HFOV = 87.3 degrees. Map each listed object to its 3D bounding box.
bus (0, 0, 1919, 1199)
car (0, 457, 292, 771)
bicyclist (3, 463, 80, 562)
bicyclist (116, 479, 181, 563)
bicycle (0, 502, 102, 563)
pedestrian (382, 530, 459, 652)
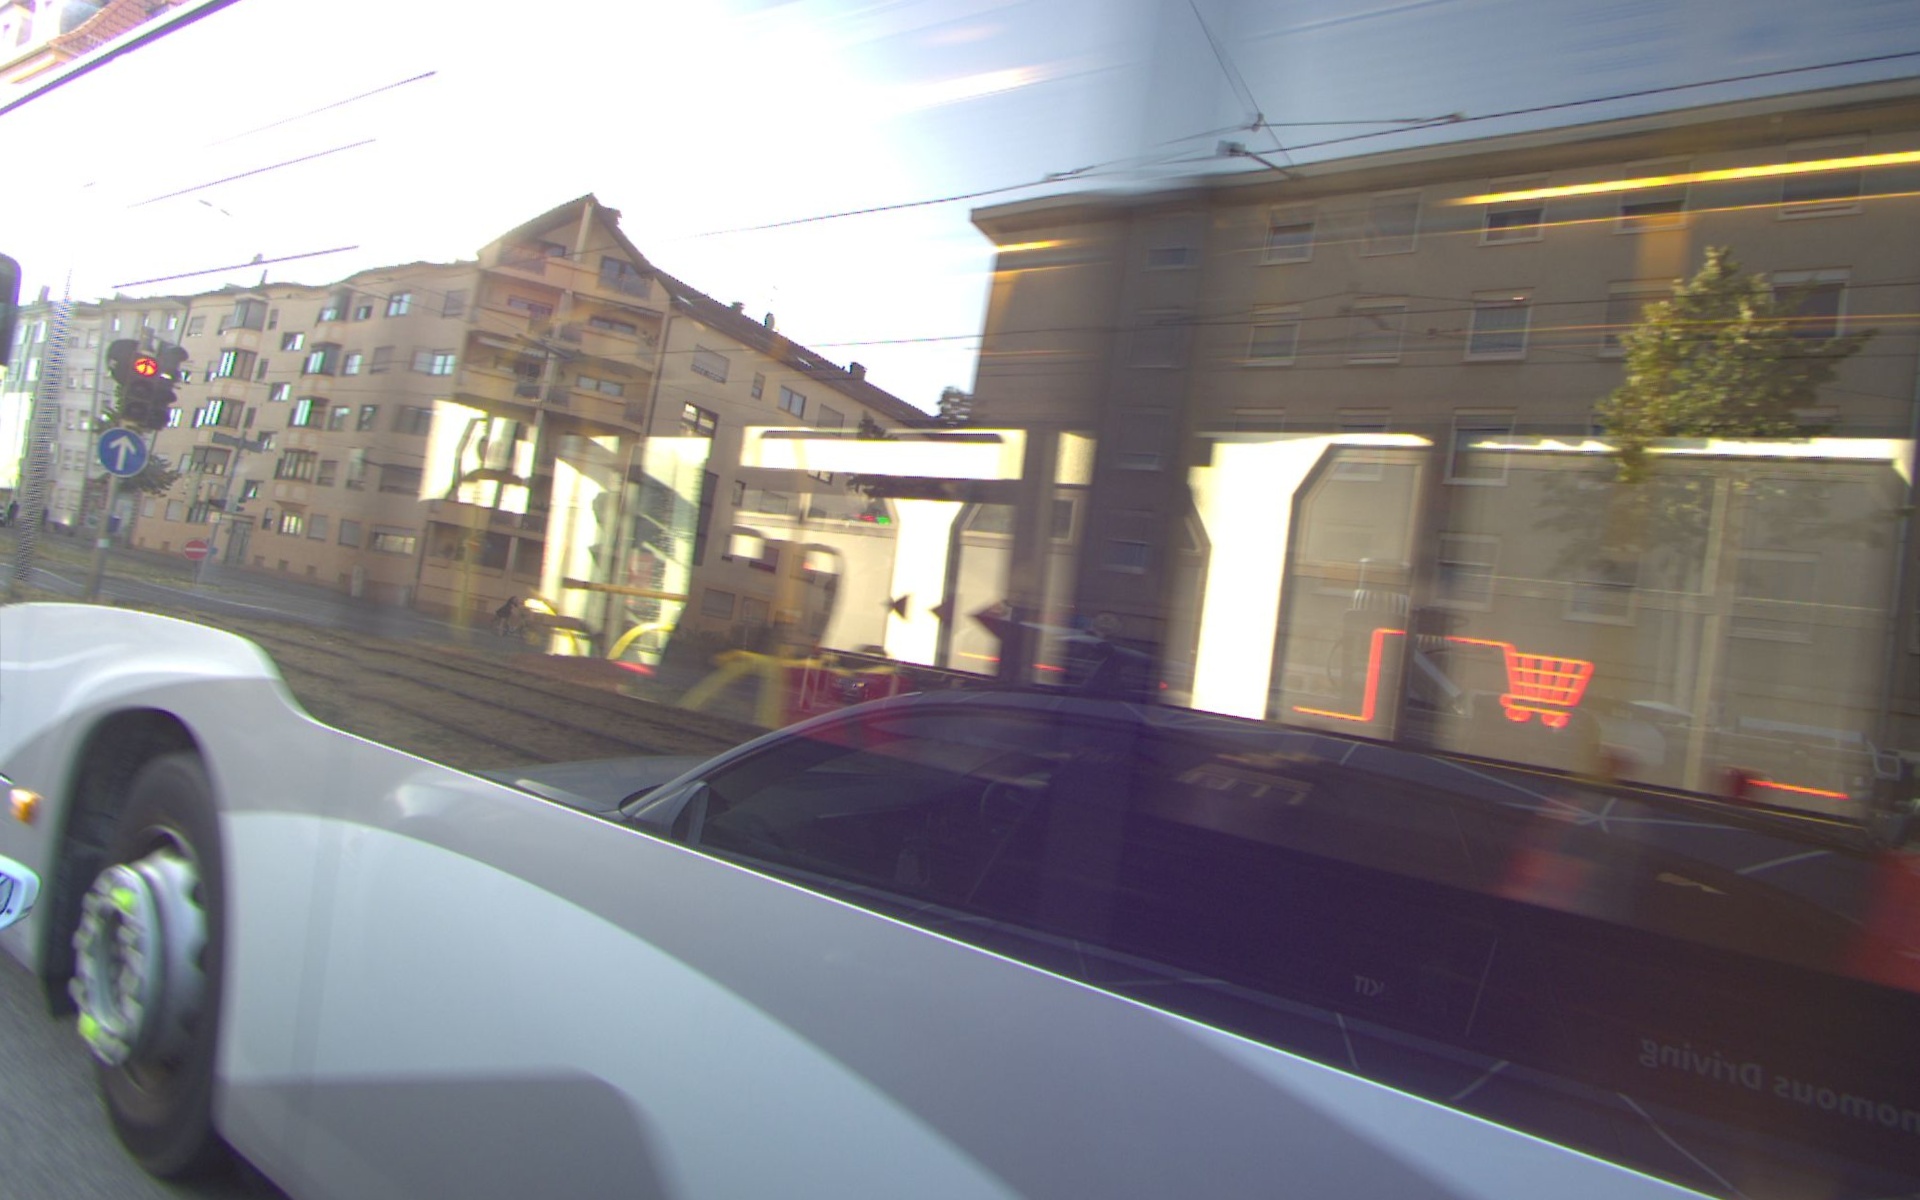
[{"bbox_3d":[0.166,-0.002,2.505,8.979,3.091,2.744,7,-1,32],"label":"bus"},{"bbox_3d":[-6.338,-0.096,6.497,4.018,1.595,1.772,7,0,32],"label":"car"},{"bbox_3d":[-20.207,-1.909,22.135,0.661,2.013,0.961,7,1,29],"label":"bicyclist"},{"bbox_3d":[-18.785,-1.824,23.299,0.708,1.773,0.795,7,-1,30],"label":"bicyclist"},{"bbox_3d":[-20.257,-1.496,22.128,0.565,1.107,1.948,7,-1,29],"label":"bicycle"},{"bbox_3d":[-7.320,-0.121,13.640,0.817,1.544,0.440,7,1,32],"label":"pedestrian"}]
